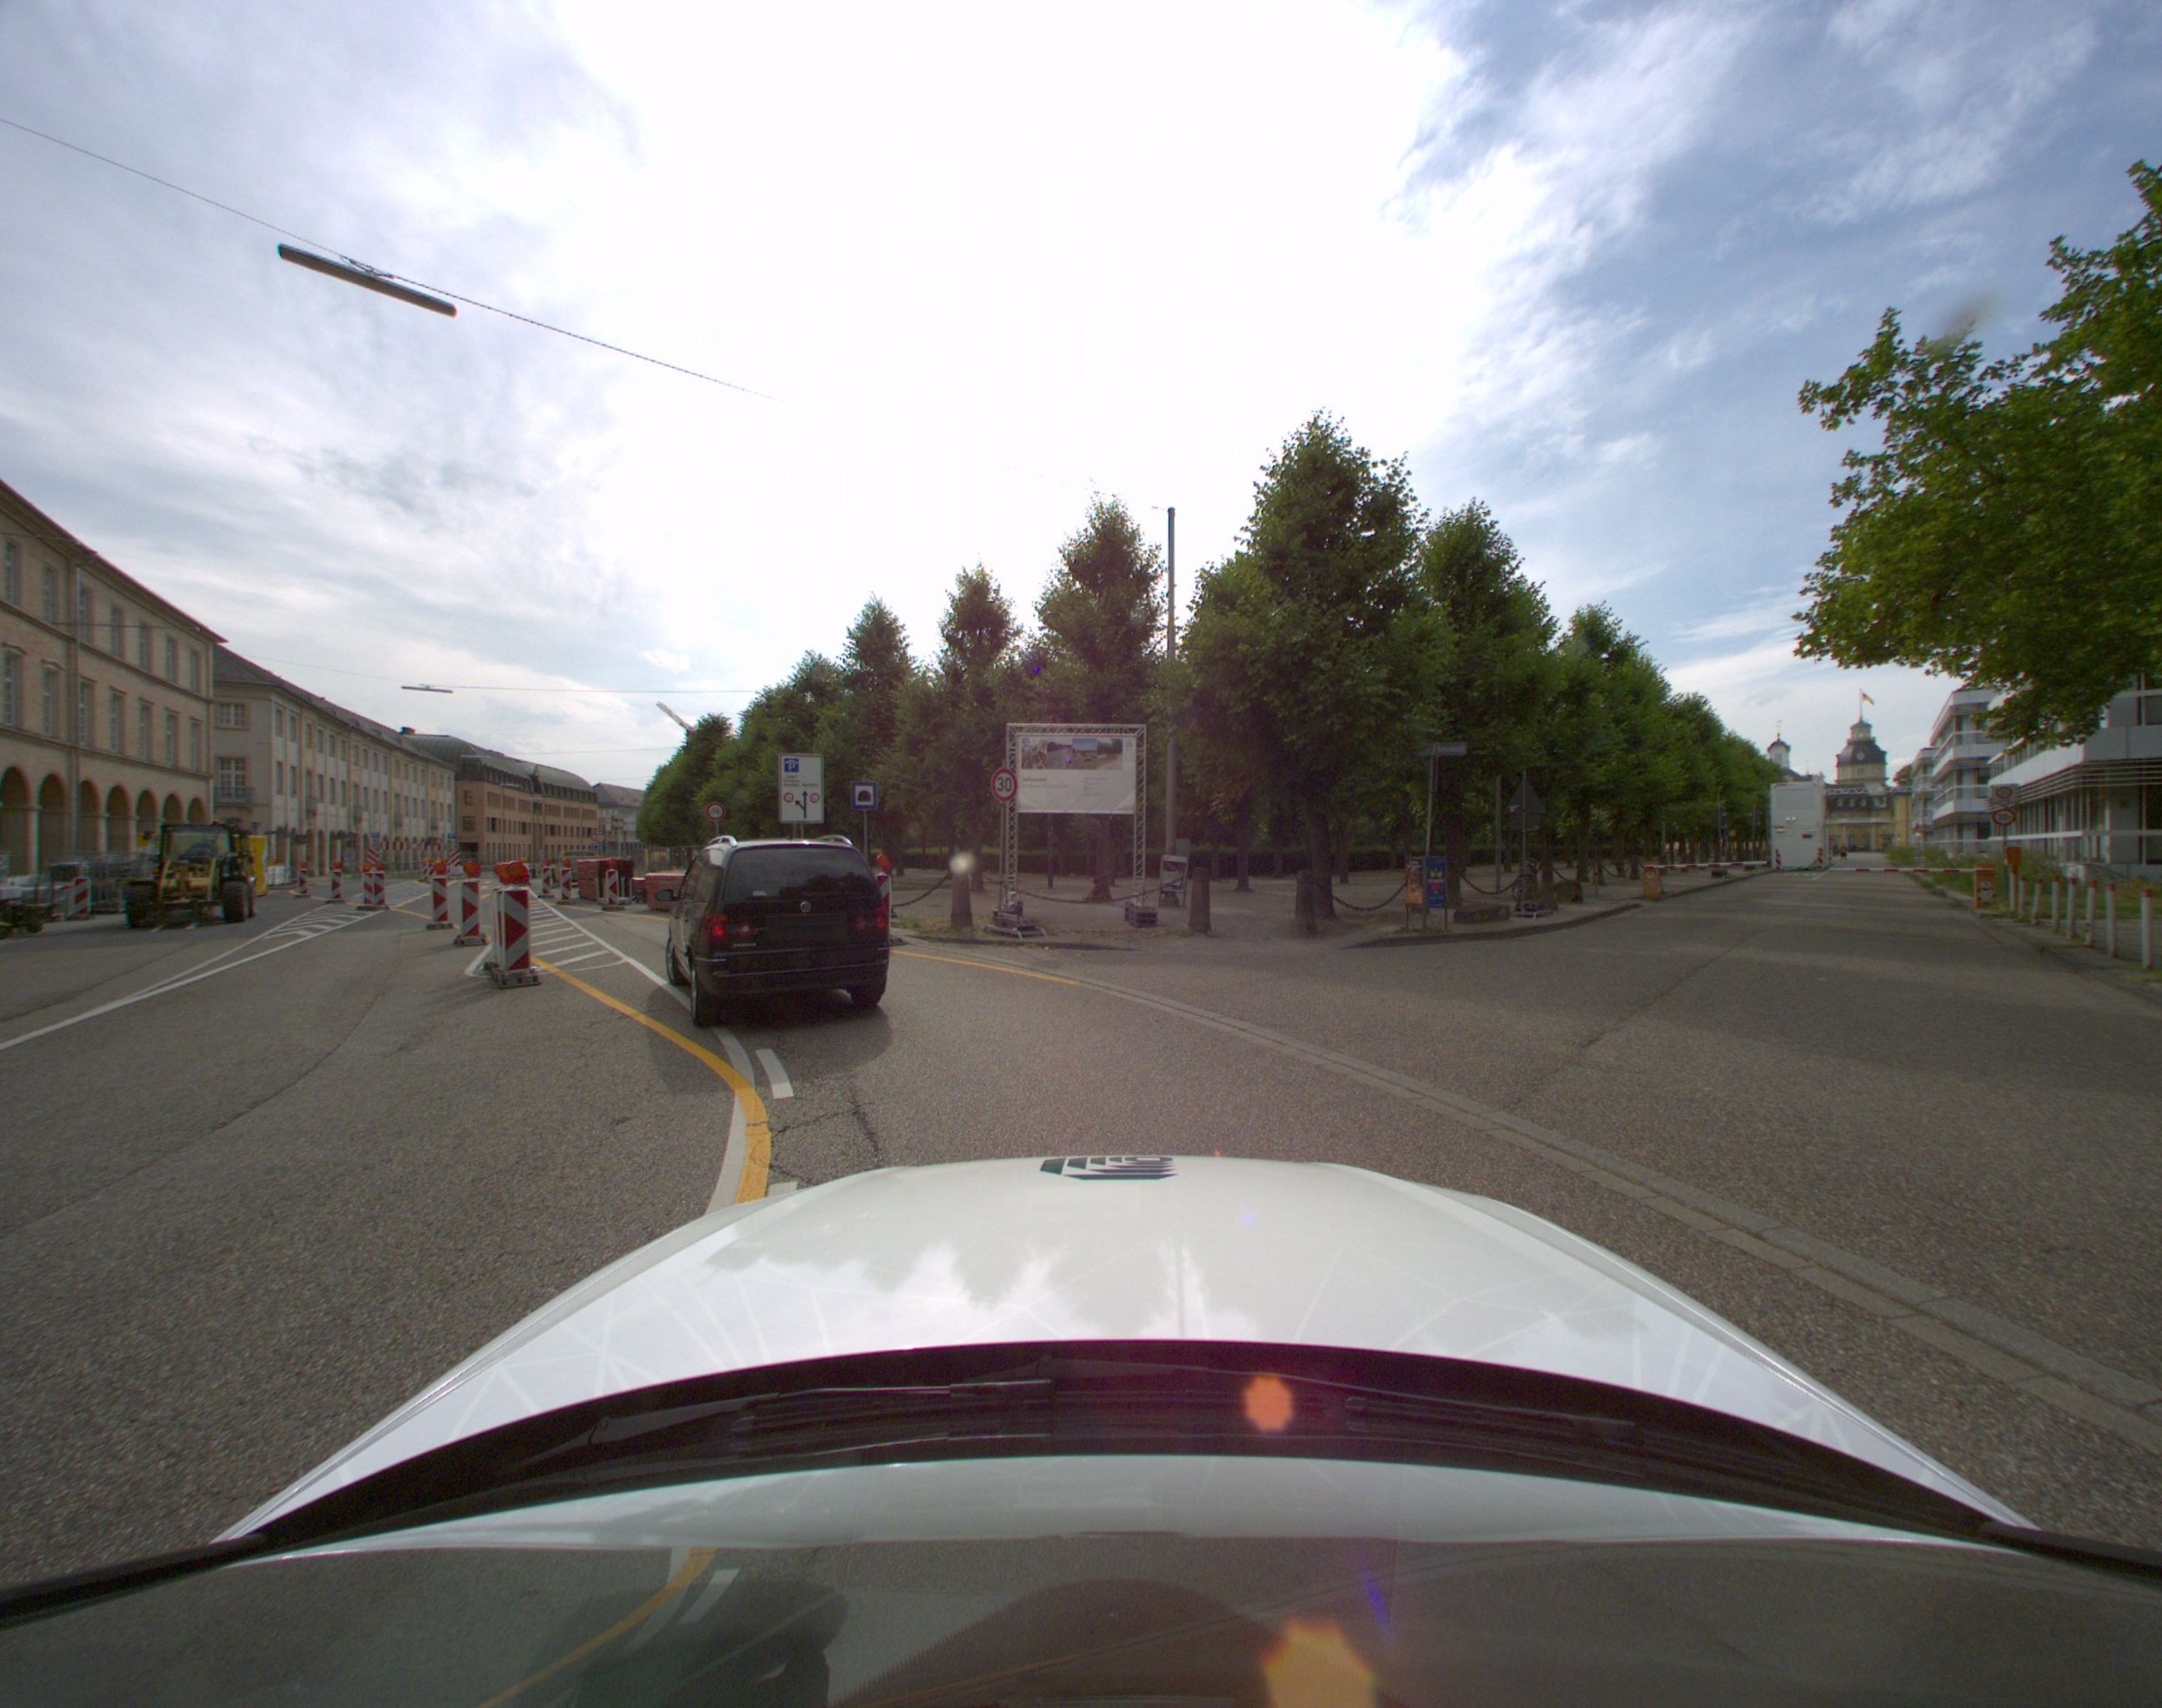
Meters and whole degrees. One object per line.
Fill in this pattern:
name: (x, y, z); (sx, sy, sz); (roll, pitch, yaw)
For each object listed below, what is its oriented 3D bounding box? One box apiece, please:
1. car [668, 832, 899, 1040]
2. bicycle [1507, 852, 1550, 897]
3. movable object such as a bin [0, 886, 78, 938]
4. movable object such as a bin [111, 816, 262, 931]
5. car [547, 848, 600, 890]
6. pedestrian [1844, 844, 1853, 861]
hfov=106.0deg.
car: (-3.461, 0.667, 8.956); (1.804, 1.708, 4.093); (-1, 0, -28)
bicycle: (12.425, 0.533, 22.680); (0.943, 1.110, 2.595); (1, 2, 27)
movable object such as a bin: (-24.531, 1.315, 18.393); (1.822, 1.125, 2.716); (-1, -1, -39)
movable object such as a bin: (-23.642, 0.459, 21.724); (2.134, 2.718, 4.564); (-1, 0, -41)
car: (-27.738, 0.762, 44.419); (2.010, 2.013, 4.296); (-1, 2, -38)
pedestrian: (72.972, -0.129, 77.436); (0.455, 1.625, 0.636); (1, 2, 31)
